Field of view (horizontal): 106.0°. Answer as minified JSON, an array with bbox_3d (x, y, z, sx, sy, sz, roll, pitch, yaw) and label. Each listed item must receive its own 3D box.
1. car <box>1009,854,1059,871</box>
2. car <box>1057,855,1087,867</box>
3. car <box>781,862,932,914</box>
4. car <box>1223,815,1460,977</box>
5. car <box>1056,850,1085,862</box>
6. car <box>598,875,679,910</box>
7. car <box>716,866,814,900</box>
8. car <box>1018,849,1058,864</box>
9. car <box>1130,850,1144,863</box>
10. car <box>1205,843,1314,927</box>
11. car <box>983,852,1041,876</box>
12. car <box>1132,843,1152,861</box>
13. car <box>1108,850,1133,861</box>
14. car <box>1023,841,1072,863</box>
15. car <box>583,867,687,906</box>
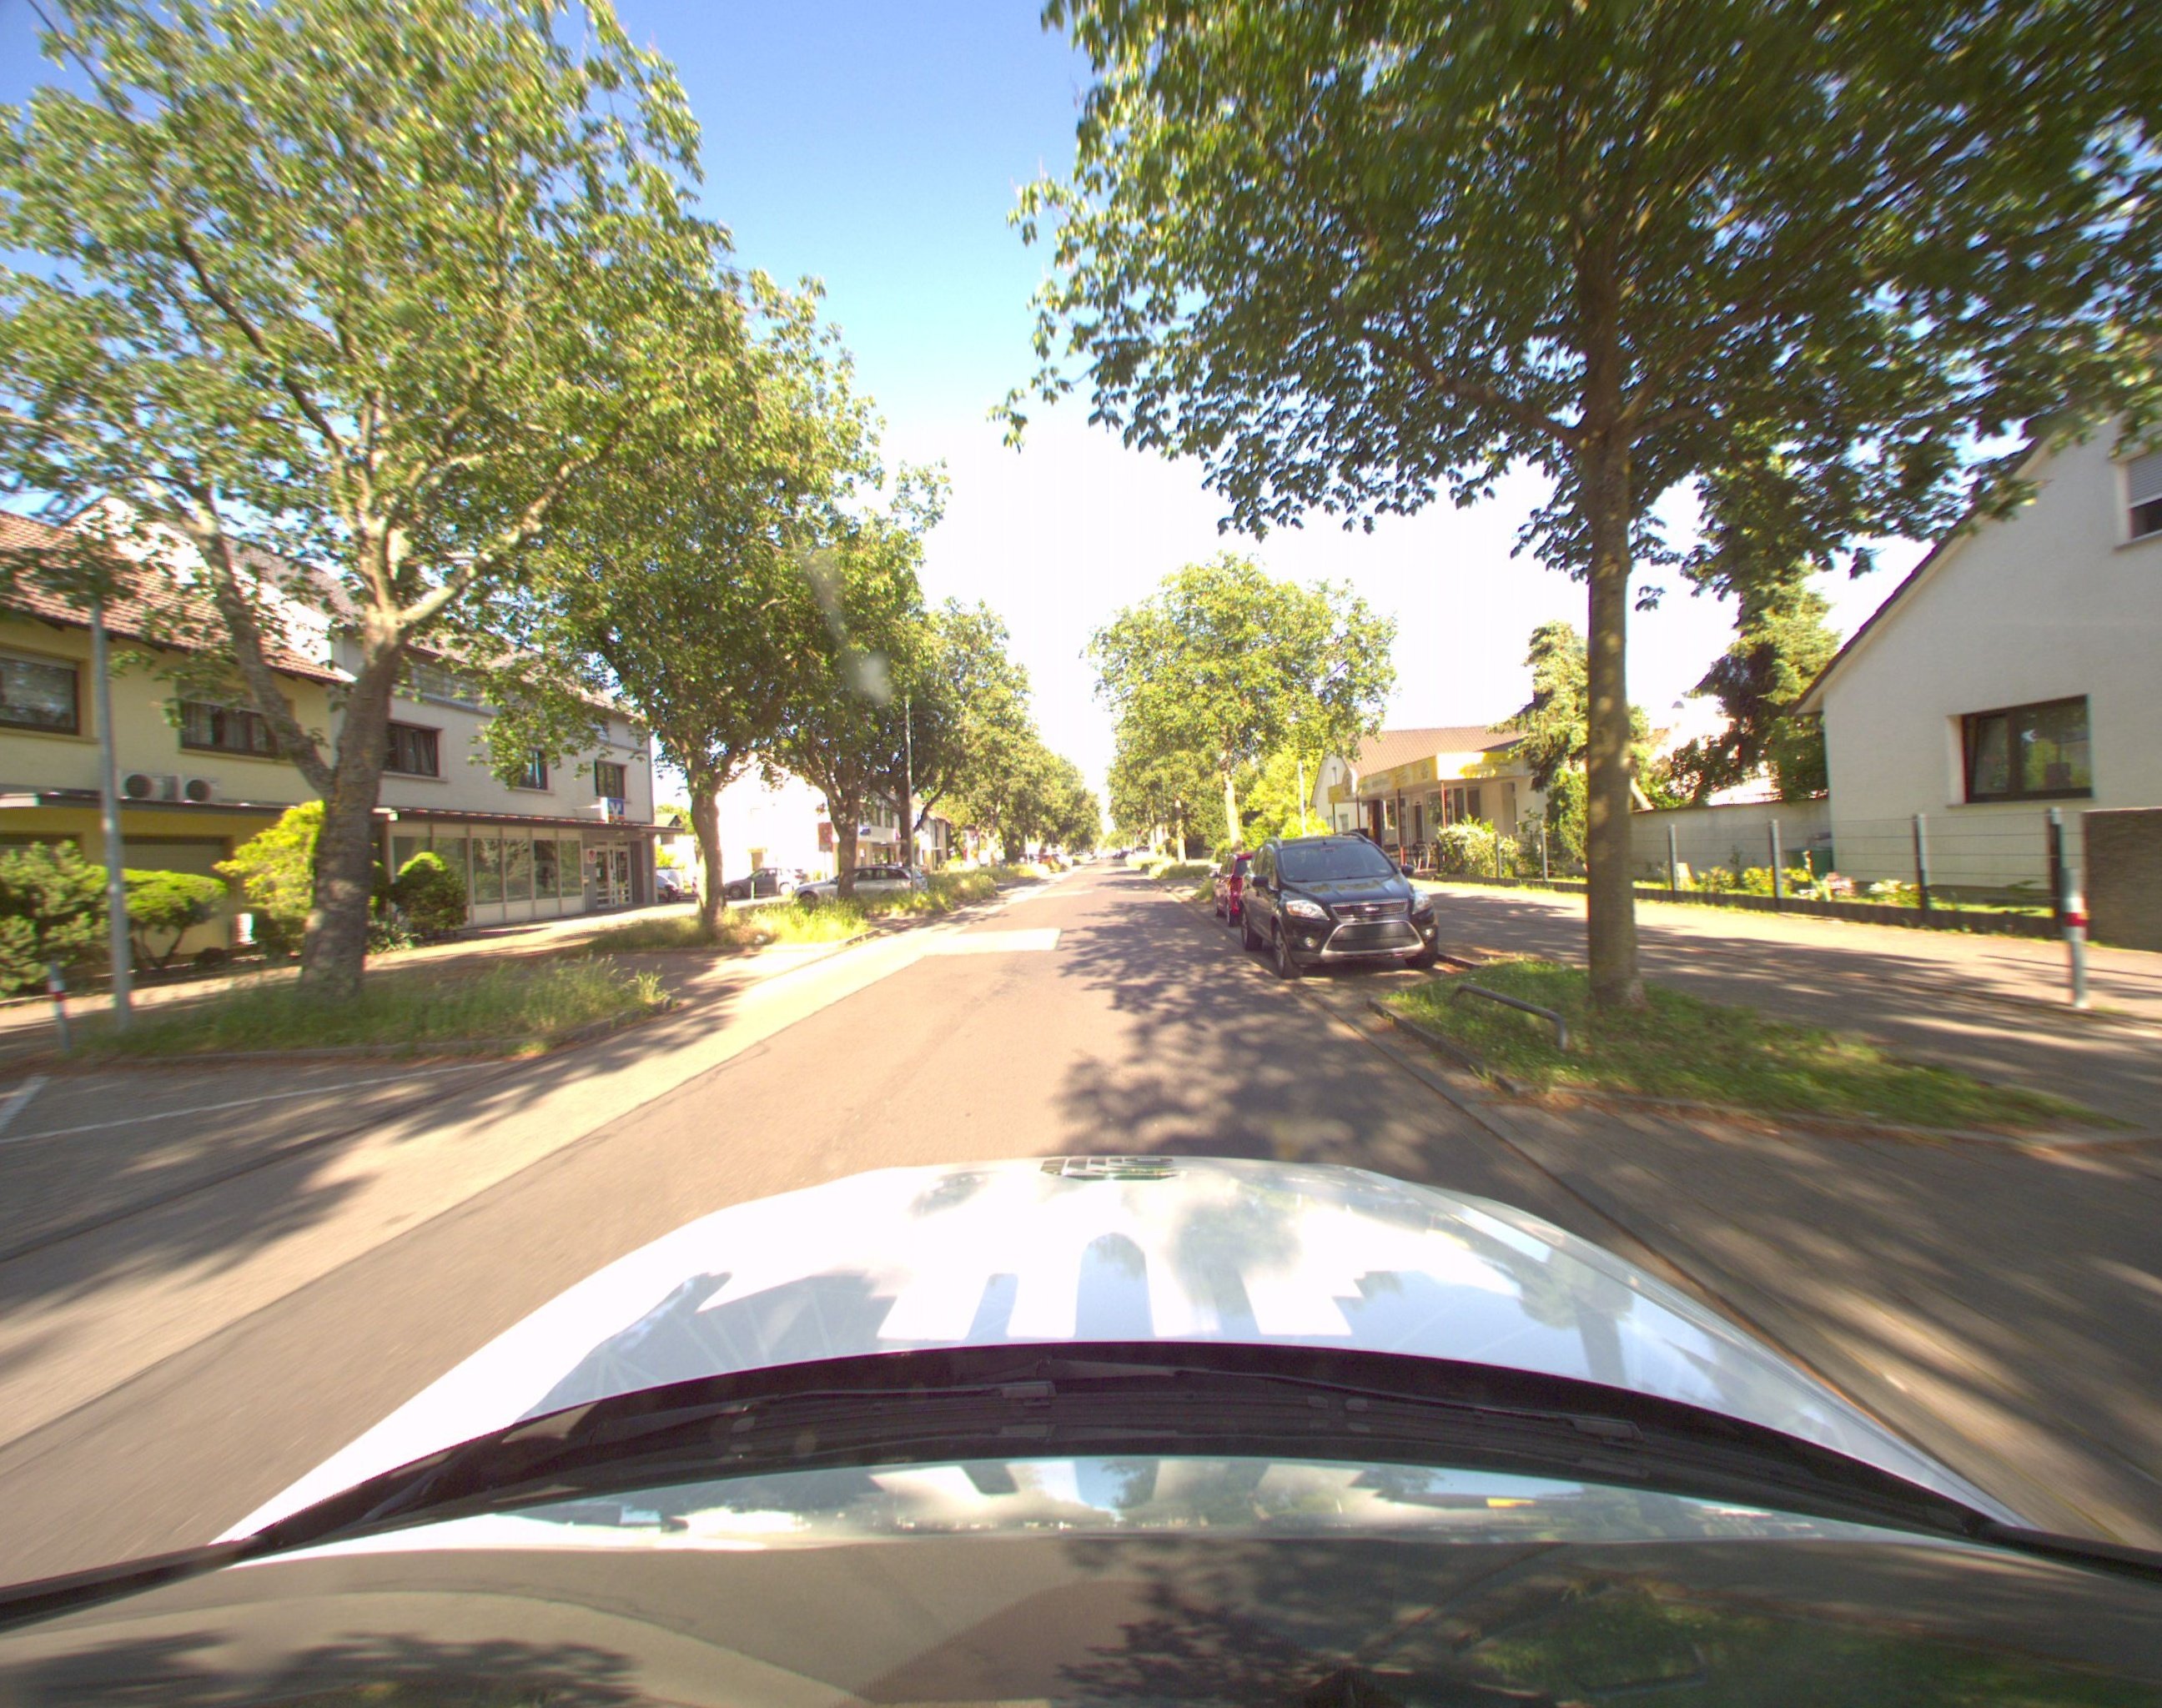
[{"bbox_3d":[-4.105,0.750,71.486,4.277,1.315,1.907,-2,2,-3],"label":"car"},{"bbox_3d":[-1.180,0.876,107.000,3.683,1.446,1.667,-2,0,5],"label":"car"},{"bbox_3d":[-7.555,1.141,27.751,4.537,1.511,1.842,-2,2,2],"label":"car"},{"bbox_3d":[3.227,0.471,11.118,1.846,1.625,4.472,-4,-1,2],"label":"car"},{"bbox_3d":[-1.371,0.259,109.705,3.683,1.446,1.667,-2,0,5],"label":"car"},{"bbox_3d":[-19.462,1.647,35.971,1.535,1.237,3.512,-2,2,1],"label":"car"},{"bbox_3d":[-17.353,1.572,44.880,4.542,1.617,1.999,-2,2,-2],"label":"car"},{"bbox_3d":[-4.386,0.264,83.851,3.857,1.479,1.897,-1,0,5],"label":"car"},{"bbox_3d":[8.369,0.368,122.085,1.895,1.774,4.304,-2,0,3],"label":"car"},{"bbox_3d":[3.720,0.586,17.554,1.689,1.479,3.893,-5,0,5],"label":"car"},{"bbox_3d":[-5.499,0.778,65.472,4.535,1.765,1.998,-2,2,-3],"label":"car"},{"bbox_3d":[6.305,-0.177,83.930,1.895,1.774,4.304,-2,0,3],"label":"car"},{"bbox_3d":[6.864,0.272,141.405,4.005,1.643,1.985,-2,2,-24],"label":"car"},{"bbox_3d":[-3.806,-0.213,93.238,5.480,2.247,2.517,-2,2,0],"label":"car"},{"bbox_3d":[-24.554,1.769,44.996,4.542,1.927,1.999,-2,2,-2],"label":"car"}]
